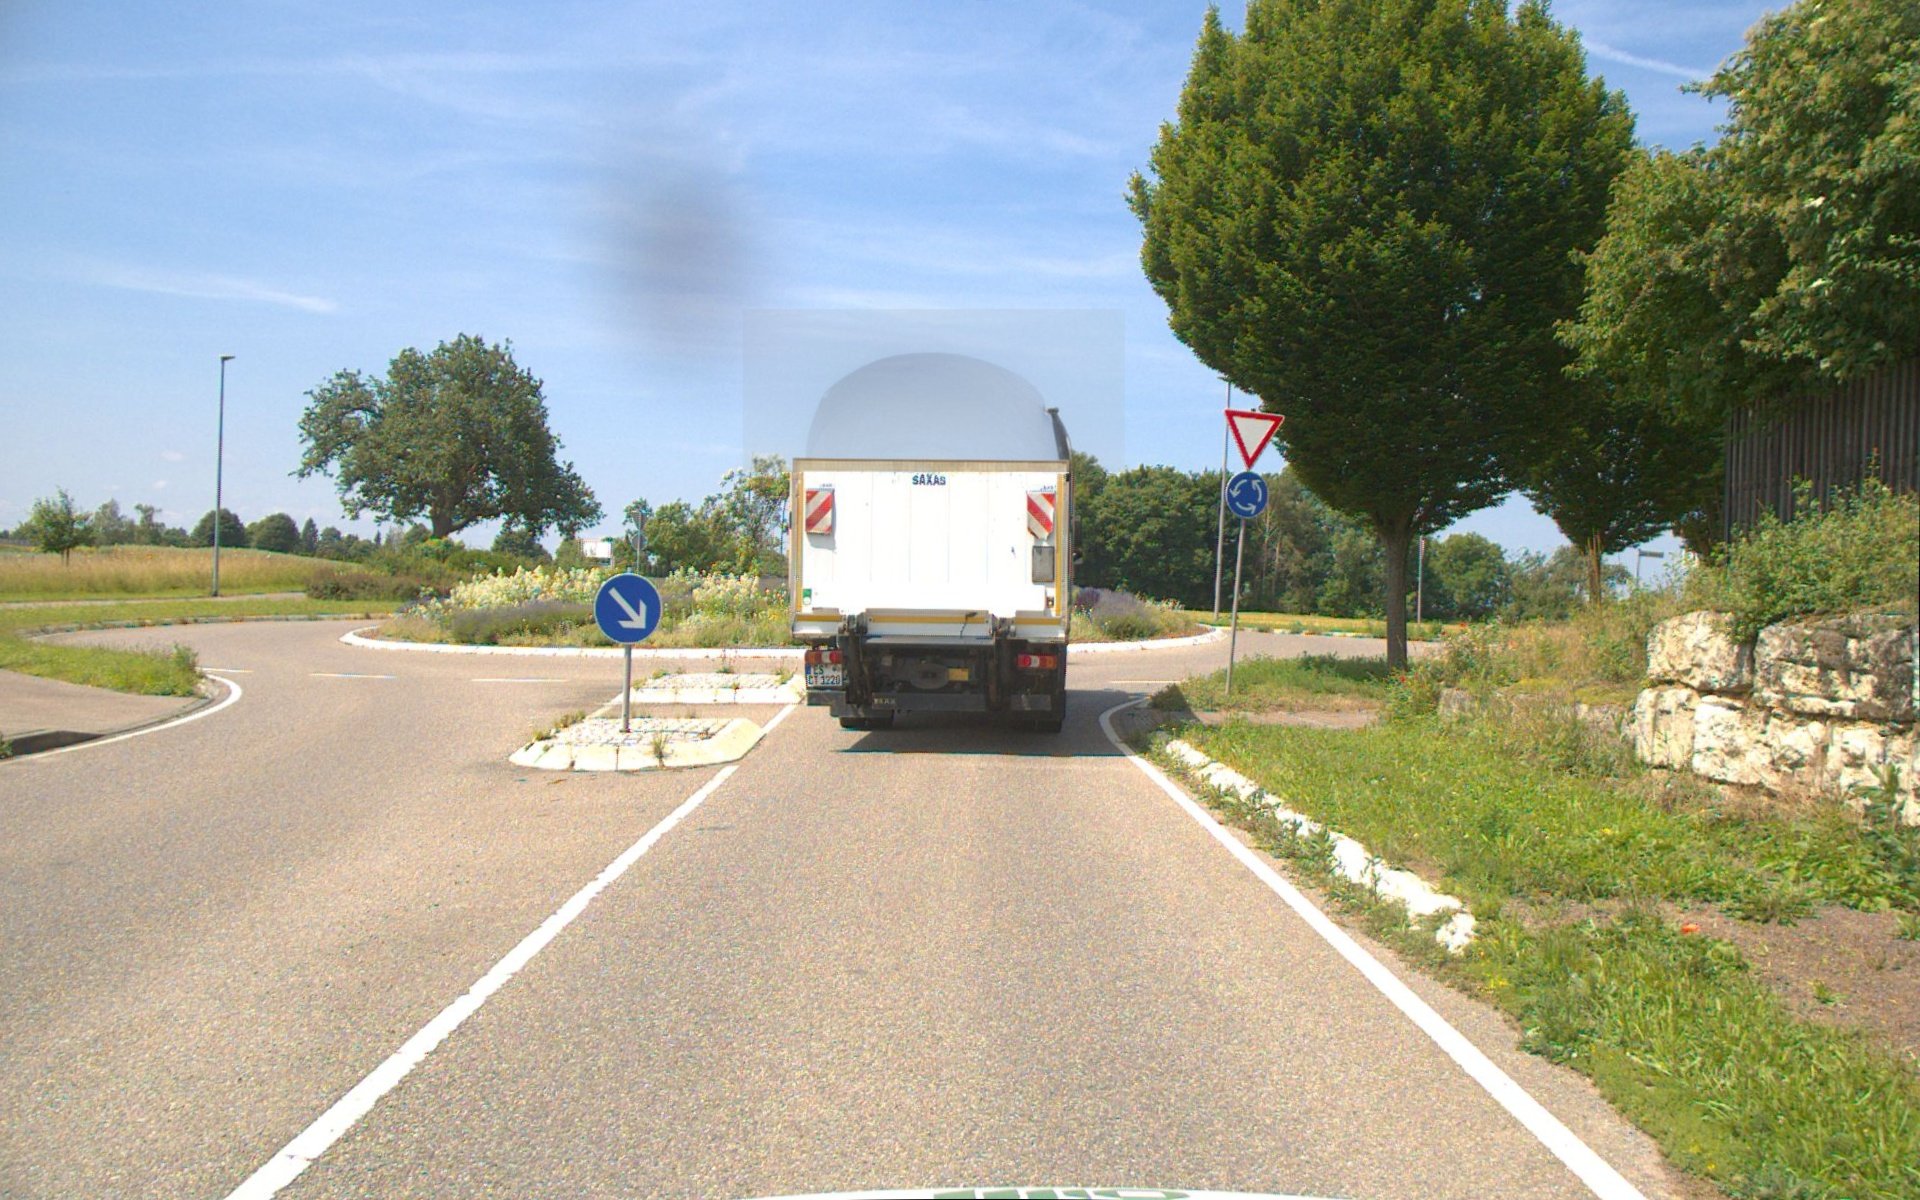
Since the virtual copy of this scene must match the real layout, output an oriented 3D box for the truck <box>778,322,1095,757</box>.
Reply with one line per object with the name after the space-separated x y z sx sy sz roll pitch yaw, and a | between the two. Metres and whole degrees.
0.028 -0.596 18.966 2.709 3.735 9.387 0 1 3 | truck
